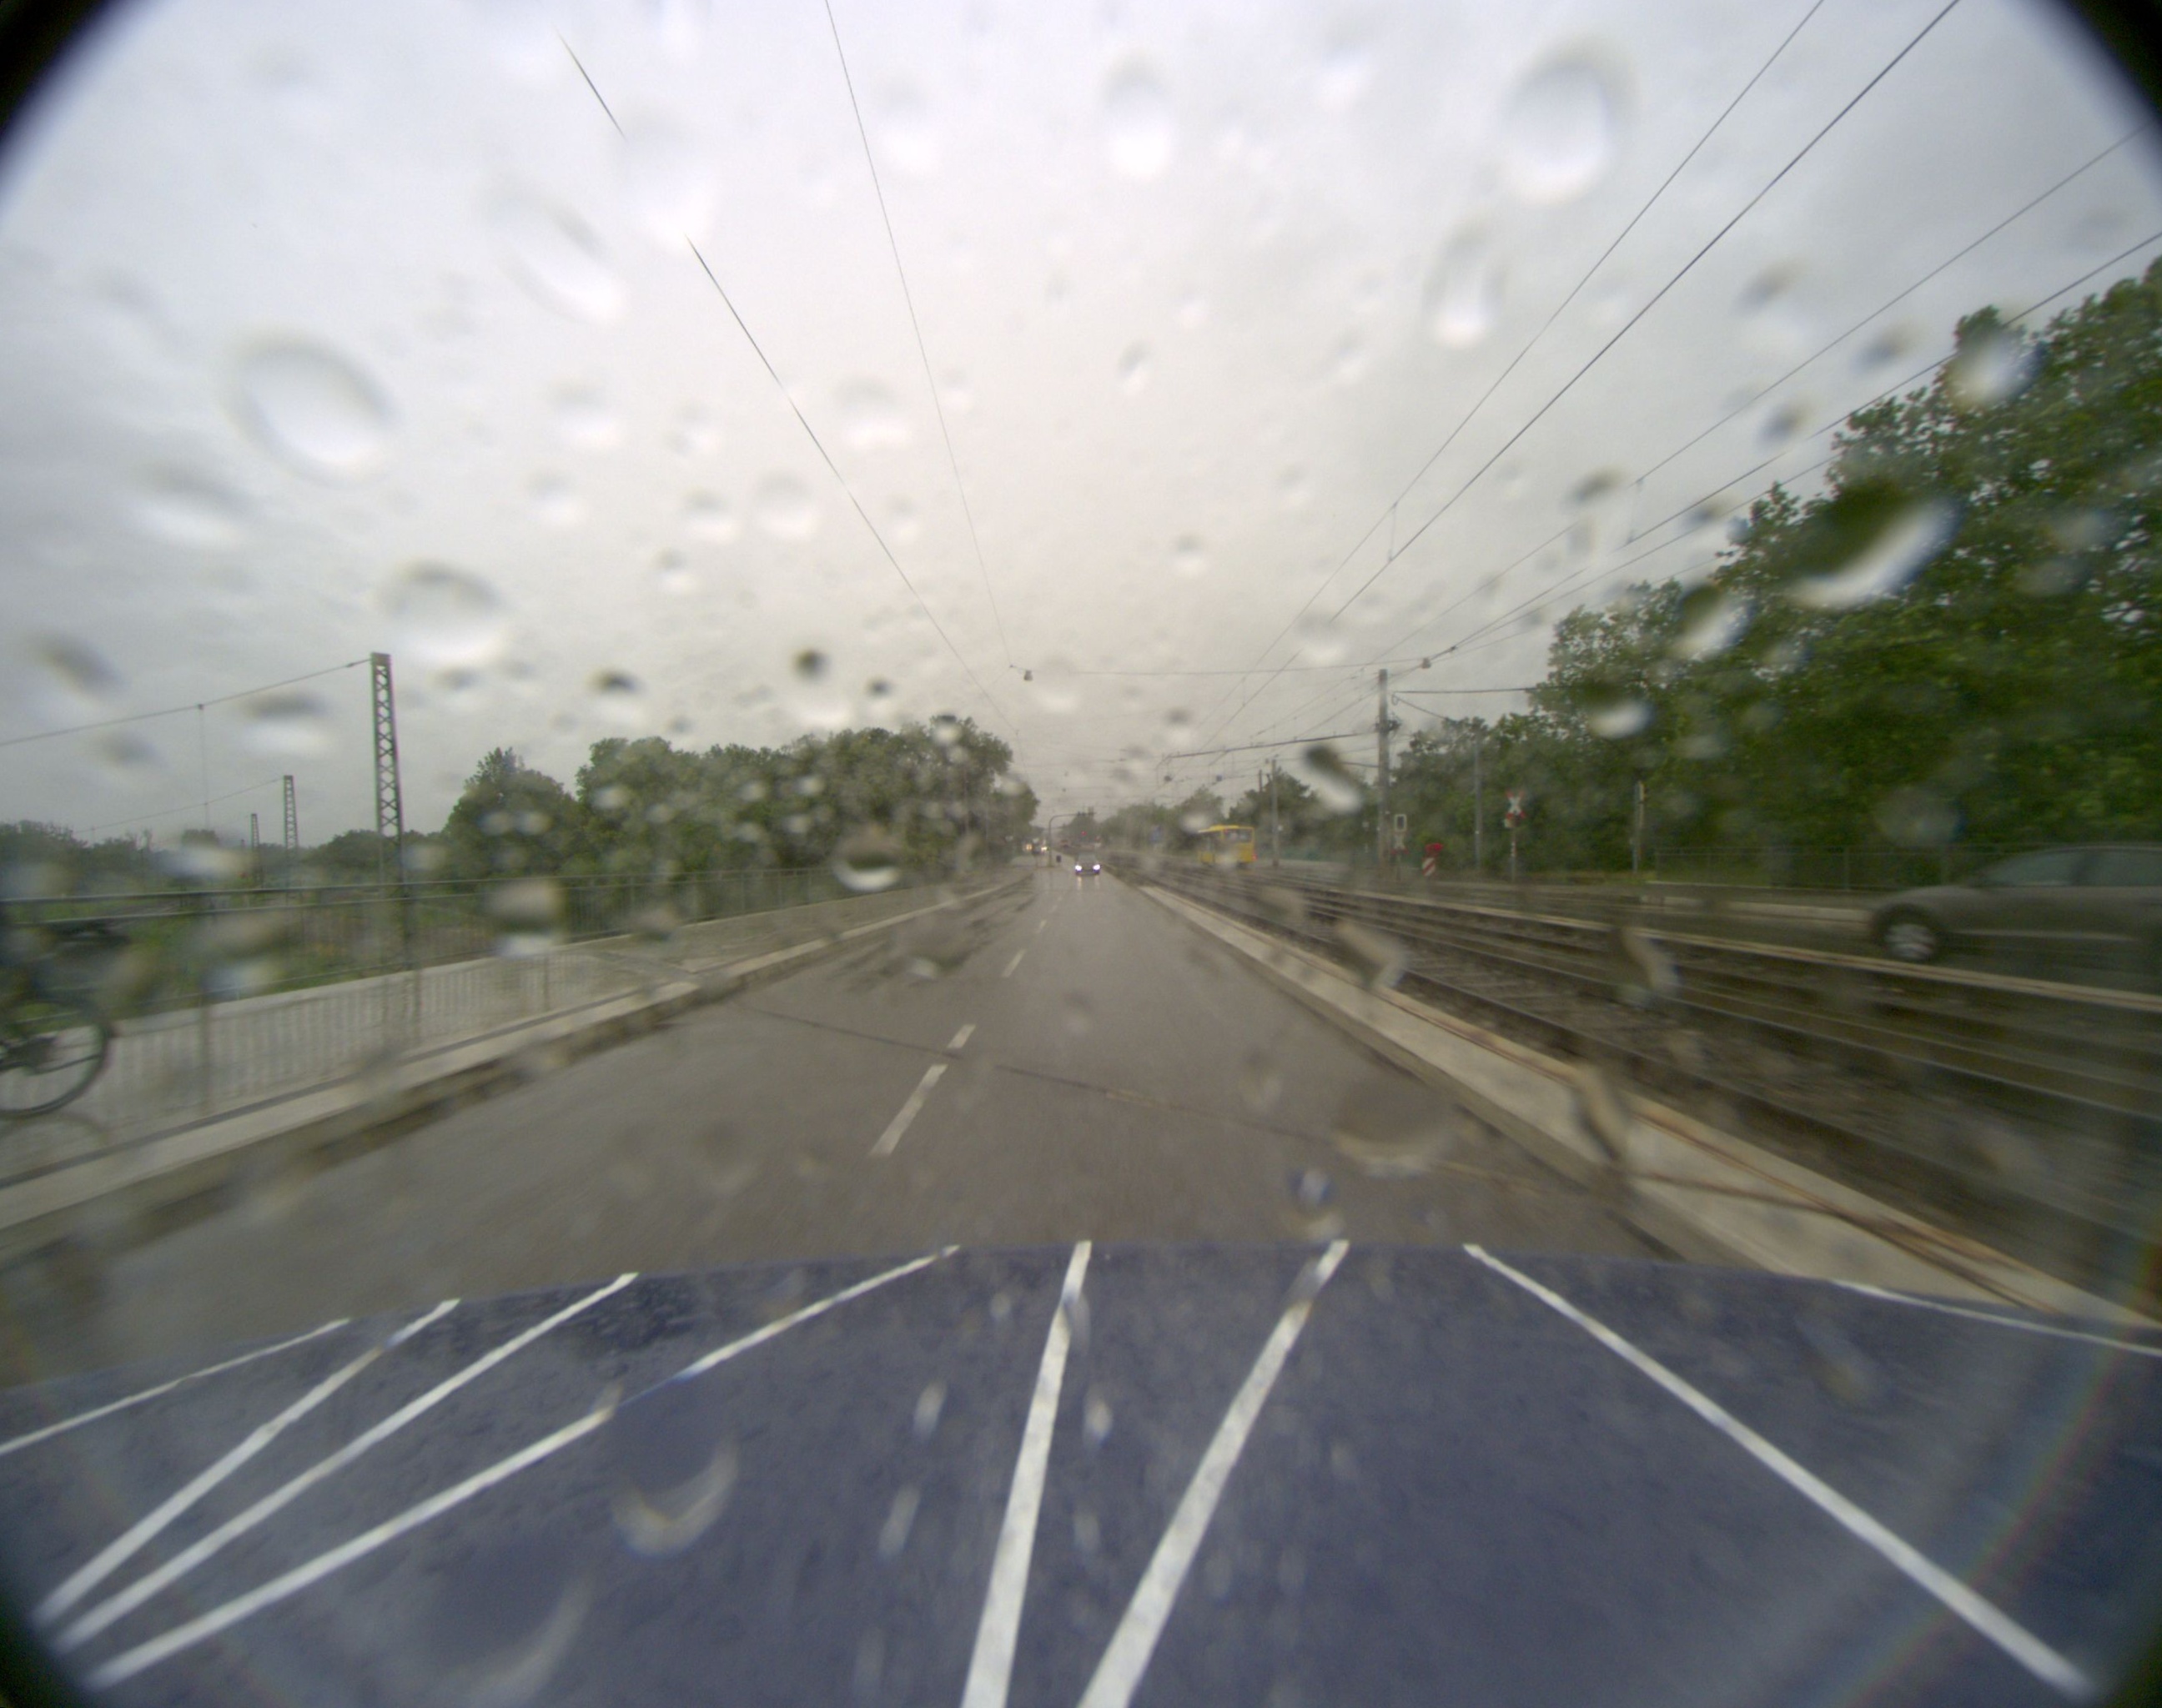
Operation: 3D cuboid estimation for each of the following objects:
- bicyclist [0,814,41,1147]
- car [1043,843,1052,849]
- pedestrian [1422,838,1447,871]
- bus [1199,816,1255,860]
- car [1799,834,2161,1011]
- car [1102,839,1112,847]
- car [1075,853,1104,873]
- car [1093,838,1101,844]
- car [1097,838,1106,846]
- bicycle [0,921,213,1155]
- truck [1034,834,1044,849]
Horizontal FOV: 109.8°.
[{"bbox_3d":[-6.085,0.695,3.632,0.727,1.754,0.949,-3,2,1],"label":"bicyclist"},{"bbox_3d":[-7.891,-1.823,179.036,1.999,1.395,4.194,-3,1,-3],"label":"car"},{"bbox_3d":[19.851,0.020,42.722,0.866,1.809,1.042,-3,2,-1],"label":"pedestrian"},{"bbox_3d":[11.955,-1.154,63.257,2.715,3.321,10.993,0,0,1],"label":"bus"},{"bbox_3d":[11.616,0.648,8.752,1.998,1.707,4.939,0,2,1],"label":"car"},{"bbox_3d":[6.600,-2.854,196.234,1.999,2.032,5.025,-3,1,-4],"label":"car"},{"bbox_3d":[0.644,0.703,61.473,1.999,1.497,4.194,-3,1,-3],"label":"car"},{"bbox_3d":[4.889,-4.118,237.740,1.999,1.639,5.368,-3,1,-4],"label":"car"},{"bbox_3d":[5.910,-3.398,216.992,1.999,2.032,5.025,-3,1,-4],"label":"car"},{"bbox_3d":[-6.052,1.034,3.845,0.725,1.122,2.167,-3,1,1],"label":"bicycle"},{"bbox_3d":[-11.910,-3.524,215.928,2.568,3.848,7.842,-3,1,-3],"label":"truck"}]
